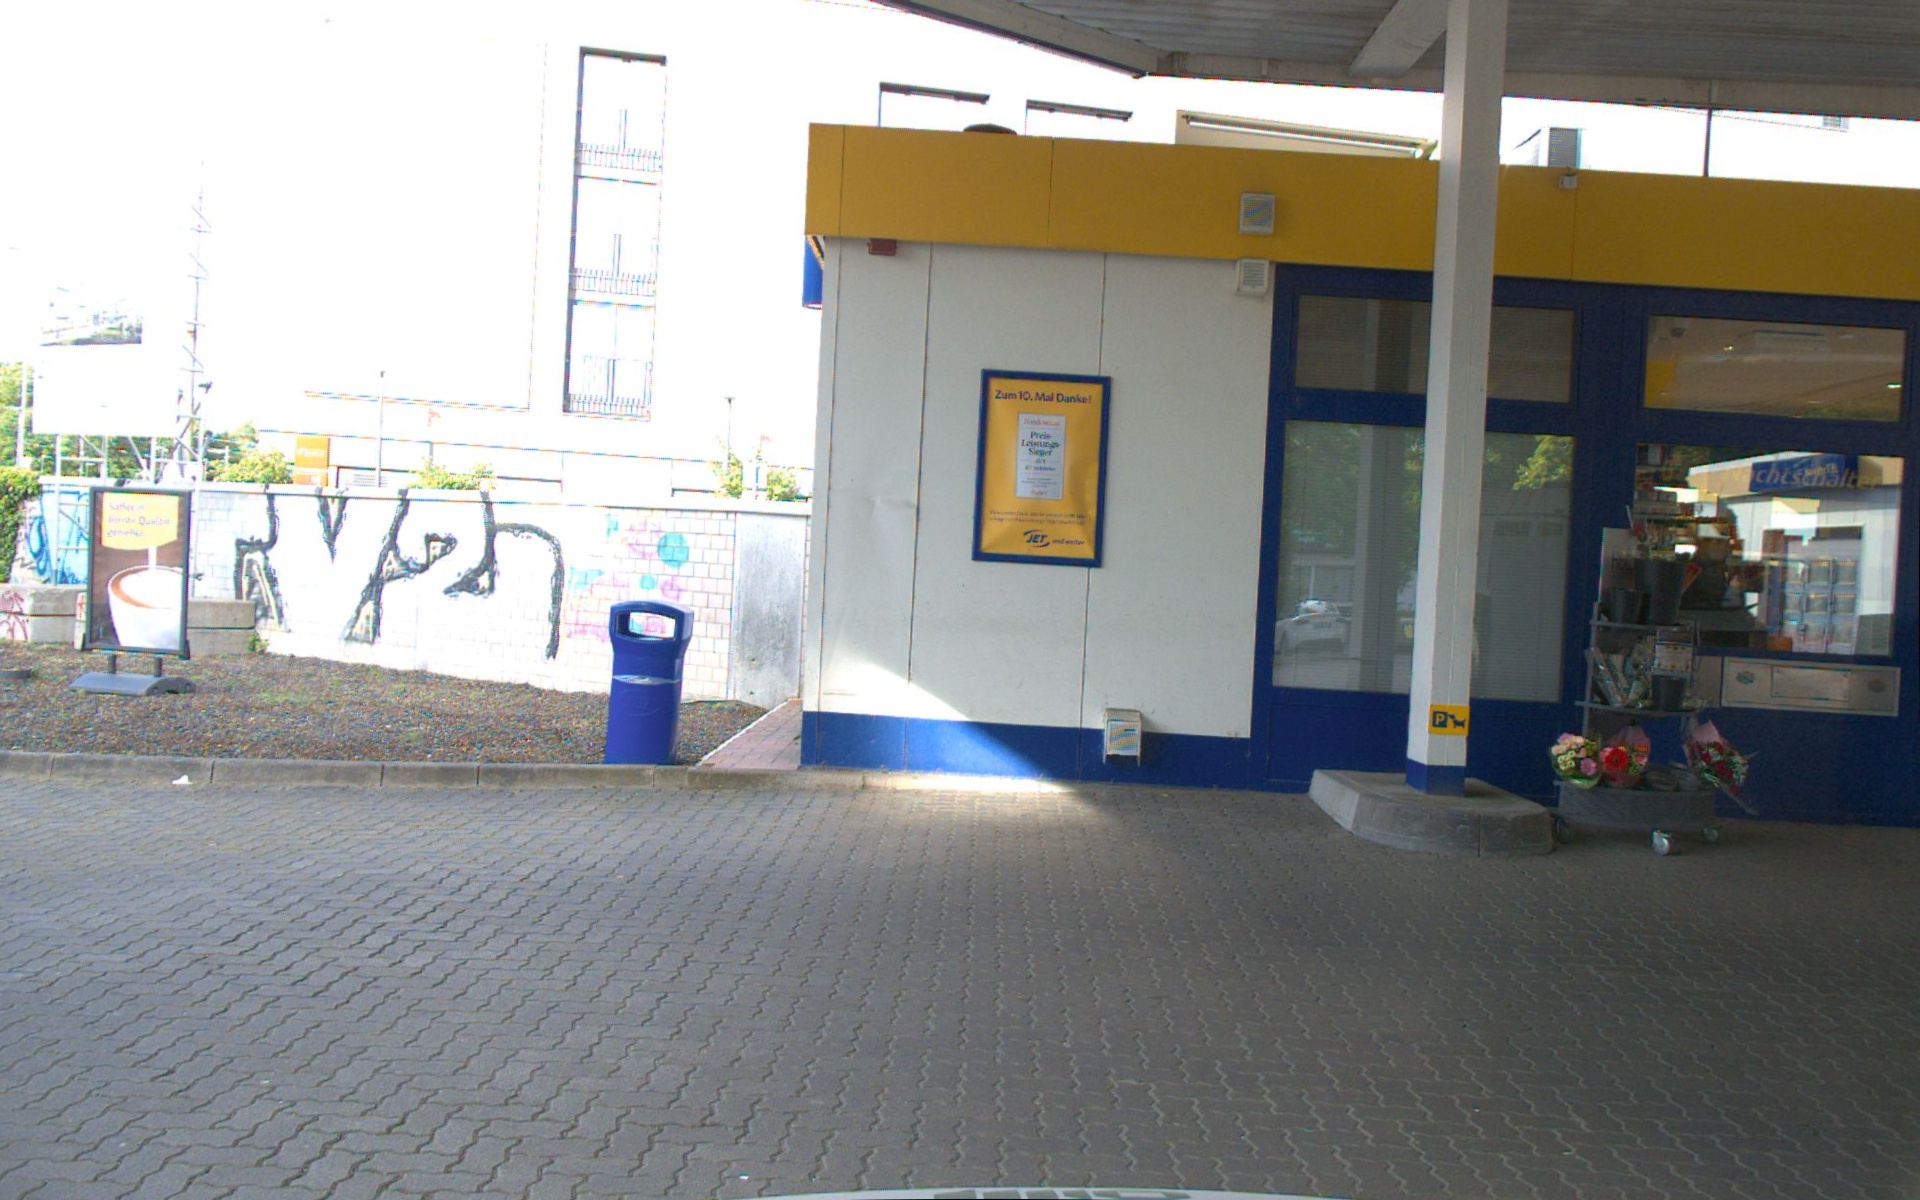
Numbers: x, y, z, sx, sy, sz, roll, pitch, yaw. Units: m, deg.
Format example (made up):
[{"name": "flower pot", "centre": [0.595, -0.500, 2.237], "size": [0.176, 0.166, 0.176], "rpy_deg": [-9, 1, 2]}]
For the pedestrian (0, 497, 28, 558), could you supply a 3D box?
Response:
[{"name": "pedestrian", "centre": [-32.997, -2.512, 57.553], "size": [0.793, 2.049, 0.847], "rpy_deg": [1, -1, -17]}]
